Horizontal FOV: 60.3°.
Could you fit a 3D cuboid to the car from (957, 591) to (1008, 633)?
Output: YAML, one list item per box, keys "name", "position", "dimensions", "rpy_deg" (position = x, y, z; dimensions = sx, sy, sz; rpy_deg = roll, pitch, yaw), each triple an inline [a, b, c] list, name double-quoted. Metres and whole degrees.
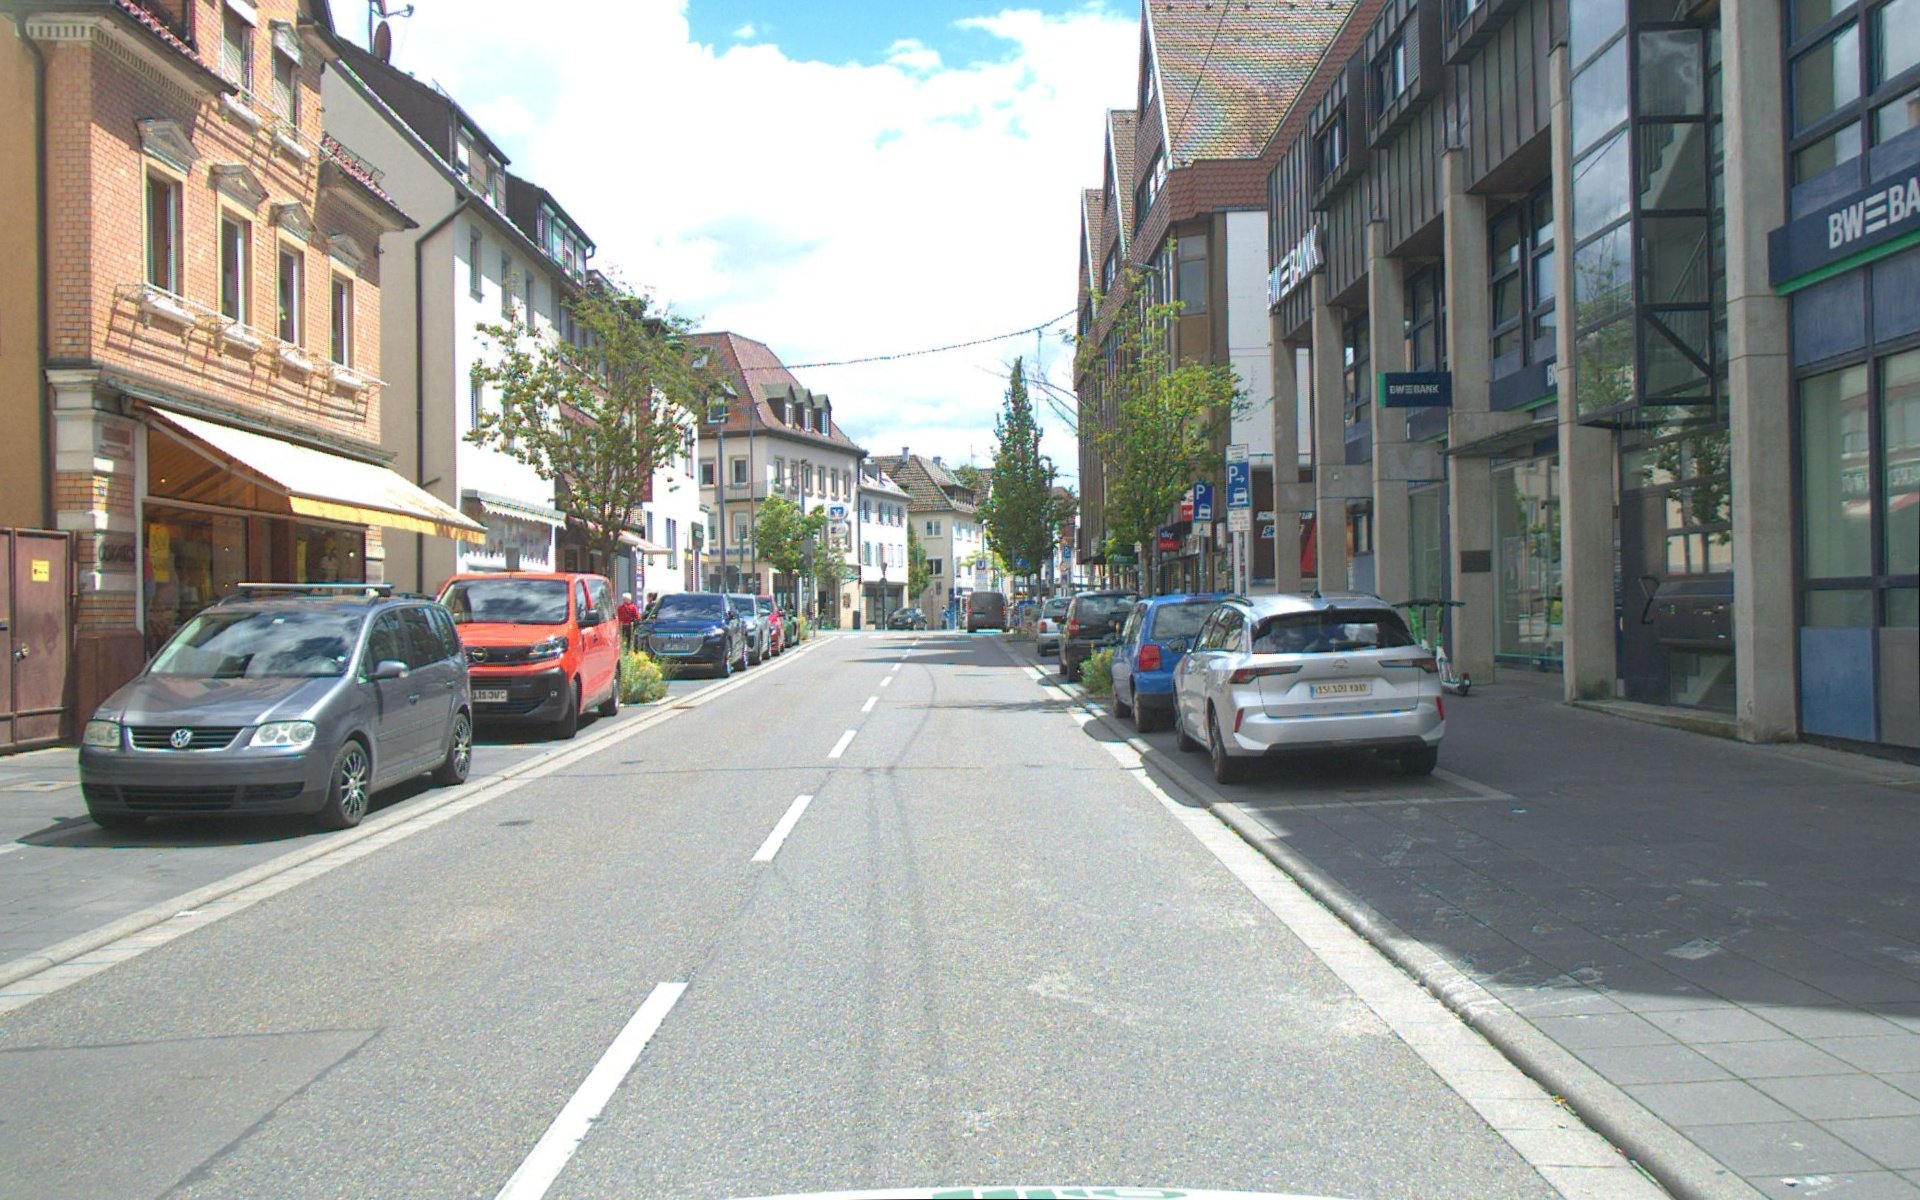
- name: "car"
  position: [1.031, 0.584, 77.771]
  dimensions: [2.000, 1.881, 4.995]
  rpy_deg: [1, -1, -4]

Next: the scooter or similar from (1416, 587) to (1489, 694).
- name: "scooter or similar"
  position: [6.116, 0.492, 20.588]
  dimensions: [0.413, 1.267, 1.561]
  rpy_deg: [1, -1, -1]

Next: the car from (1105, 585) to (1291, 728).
- name: "car"
  position: [2.735, 0.624, 19.819]
  dimensions: [1.686, 1.520, 4.109]
  rpy_deg: [1, -1, 1]

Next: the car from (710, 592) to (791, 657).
- name: "car"
  position: [-5.550, 0.626, 44.296]
  dimensions: [1.763, 1.632, 4.216]
  rpy_deg: [-1, 0, -2]

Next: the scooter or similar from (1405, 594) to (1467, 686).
- name: "scooter or similar"
  position: [6.797, 0.557, 23.667]
  dimensions: [0.413, 1.267, 1.561]
  rpy_deg: [1, -1, -1]

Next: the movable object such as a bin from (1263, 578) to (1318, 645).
- name: "movable object such as a bin"
  position: [7.807, 0.264, 39.094]
  dimensions: [1.118, 1.554, 1.032]
  rpy_deg: [1, -1, 2]

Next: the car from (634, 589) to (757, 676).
- name: "car"
  position: [-5.223, 0.604, 33.192]
  dimensions: [1.762, 1.626, 4.388]
  rpy_deg: [0, 0, 0]

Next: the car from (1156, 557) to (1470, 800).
- name: "car"
  position: [2.843, 0.556, 14.304]
  dimensions: [1.686, 1.603, 4.429]
  rpy_deg: [-6, 0, 1]

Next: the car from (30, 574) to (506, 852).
- name: "car"
  position: [-5.120, 0.753, 13.001]
  dimensions: [1.778, 1.786, 4.464]
  rpy_deg: [1, -1, 1]

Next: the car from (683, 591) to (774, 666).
- name: "car"
  position: [-5.387, 0.633, 38.947]
  dimensions: [1.764, 1.632, 4.348]
  rpy_deg: [-1, 0, -4]

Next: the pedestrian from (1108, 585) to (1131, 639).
- name: "pedestrian"
  position: [5.554, 0.416, 57.602]
  dimensions: [0.722, 1.846, 0.711]
  rpy_deg: [1, -1, 0]

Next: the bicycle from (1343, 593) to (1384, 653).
- name: "bicycle"
  position: [7.877, 0.442, 32.330]
  dimensions: [0.416, 1.139, 1.741]
  rpy_deg: [1, -1, 2]

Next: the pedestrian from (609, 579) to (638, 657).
- name: "pedestrian"
  position: [-7.348, 0.397, 36.120]
  dimensions: [0.491, 1.677, 0.574]
  rpy_deg: [1, -1, -2]

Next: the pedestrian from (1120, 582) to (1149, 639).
- name: "pedestrian"
  position: [5.313, 0.326, 50.380]
  dimensions: [0.647, 1.736, 0.642]
  rpy_deg: [1, -1, -24]

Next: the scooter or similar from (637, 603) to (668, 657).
- name: "scooter or similar"
  position: [-6.831, 0.664, 36.792]
  dimensions: [0.551, 1.171, 0.984]
  rpy_deg: [1, -1, -3]

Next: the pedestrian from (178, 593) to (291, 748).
- name: "pedestrian"
  position: [-7.705, 0.737, 17.593]
  dimensions: [0.788, 1.602, 0.780]
  rpy_deg: [0, -1, 8]

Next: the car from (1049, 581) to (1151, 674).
- name: "car"
  position: [2.521, 0.474, 30.512]
  dimensions: [1.576, 1.559, 3.795]
  rpy_deg: [-2, 0, 1]

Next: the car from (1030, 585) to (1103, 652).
- name: "car"
  position: [2.693, 0.452, 42.399]
  dimensions: [1.576, 1.520, 3.795]
  rpy_deg: [-4, 0, 1]

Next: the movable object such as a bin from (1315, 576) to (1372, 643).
- name: "movable object such as a bin"
  position: [9.029, 0.226, 38.960]
  dimensions: [1.118, 1.554, 1.032]
  rpy_deg: [1, -1, 2]

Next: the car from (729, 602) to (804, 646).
- name: "car"
  position: [-5.915, 0.708, 50.945]
  dimensions: [1.782, 1.245, 4.523]
  rpy_deg: [1, 0, -1]

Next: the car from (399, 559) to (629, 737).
- name: "car"
  position: [-5.317, 0.545, 20.365]
  dimensions: [1.780, 1.922, 4.837]
  rpy_deg: [1, -1, -4]

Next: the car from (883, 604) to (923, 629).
- name: "car"
  position: [-3.494, 1.030, 101.741]
  dimensions: [1.590, 1.512, 3.808]
  rpy_deg: [0, -1, 11]

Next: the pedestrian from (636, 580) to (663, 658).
- name: "pedestrian"
  position: [-6.772, 0.420, 36.070]
  dimensions: [0.503, 1.677, 0.471]
  rpy_deg: [1, -1, -2]

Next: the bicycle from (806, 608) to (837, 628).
- name: "bicycle"
  position: [-7.448, 0.967, 88.932]
  dimensions: [1.597, 1.049, 0.568]
  rpy_deg: [0, -1, 15]

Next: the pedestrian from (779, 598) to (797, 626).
- name: "pedestrian"
  position: [-9.371, 0.656, 90.340]
  dimensions: [0.613, 1.559, 0.858]
  rpy_deg: [0, -1, 23]

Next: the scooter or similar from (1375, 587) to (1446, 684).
- name: "scooter or similar"
  position: [6.099, 0.471, 22.426]
  dimensions: [0.398, 1.267, 1.321]
  rpy_deg: [1, -1, -10]
